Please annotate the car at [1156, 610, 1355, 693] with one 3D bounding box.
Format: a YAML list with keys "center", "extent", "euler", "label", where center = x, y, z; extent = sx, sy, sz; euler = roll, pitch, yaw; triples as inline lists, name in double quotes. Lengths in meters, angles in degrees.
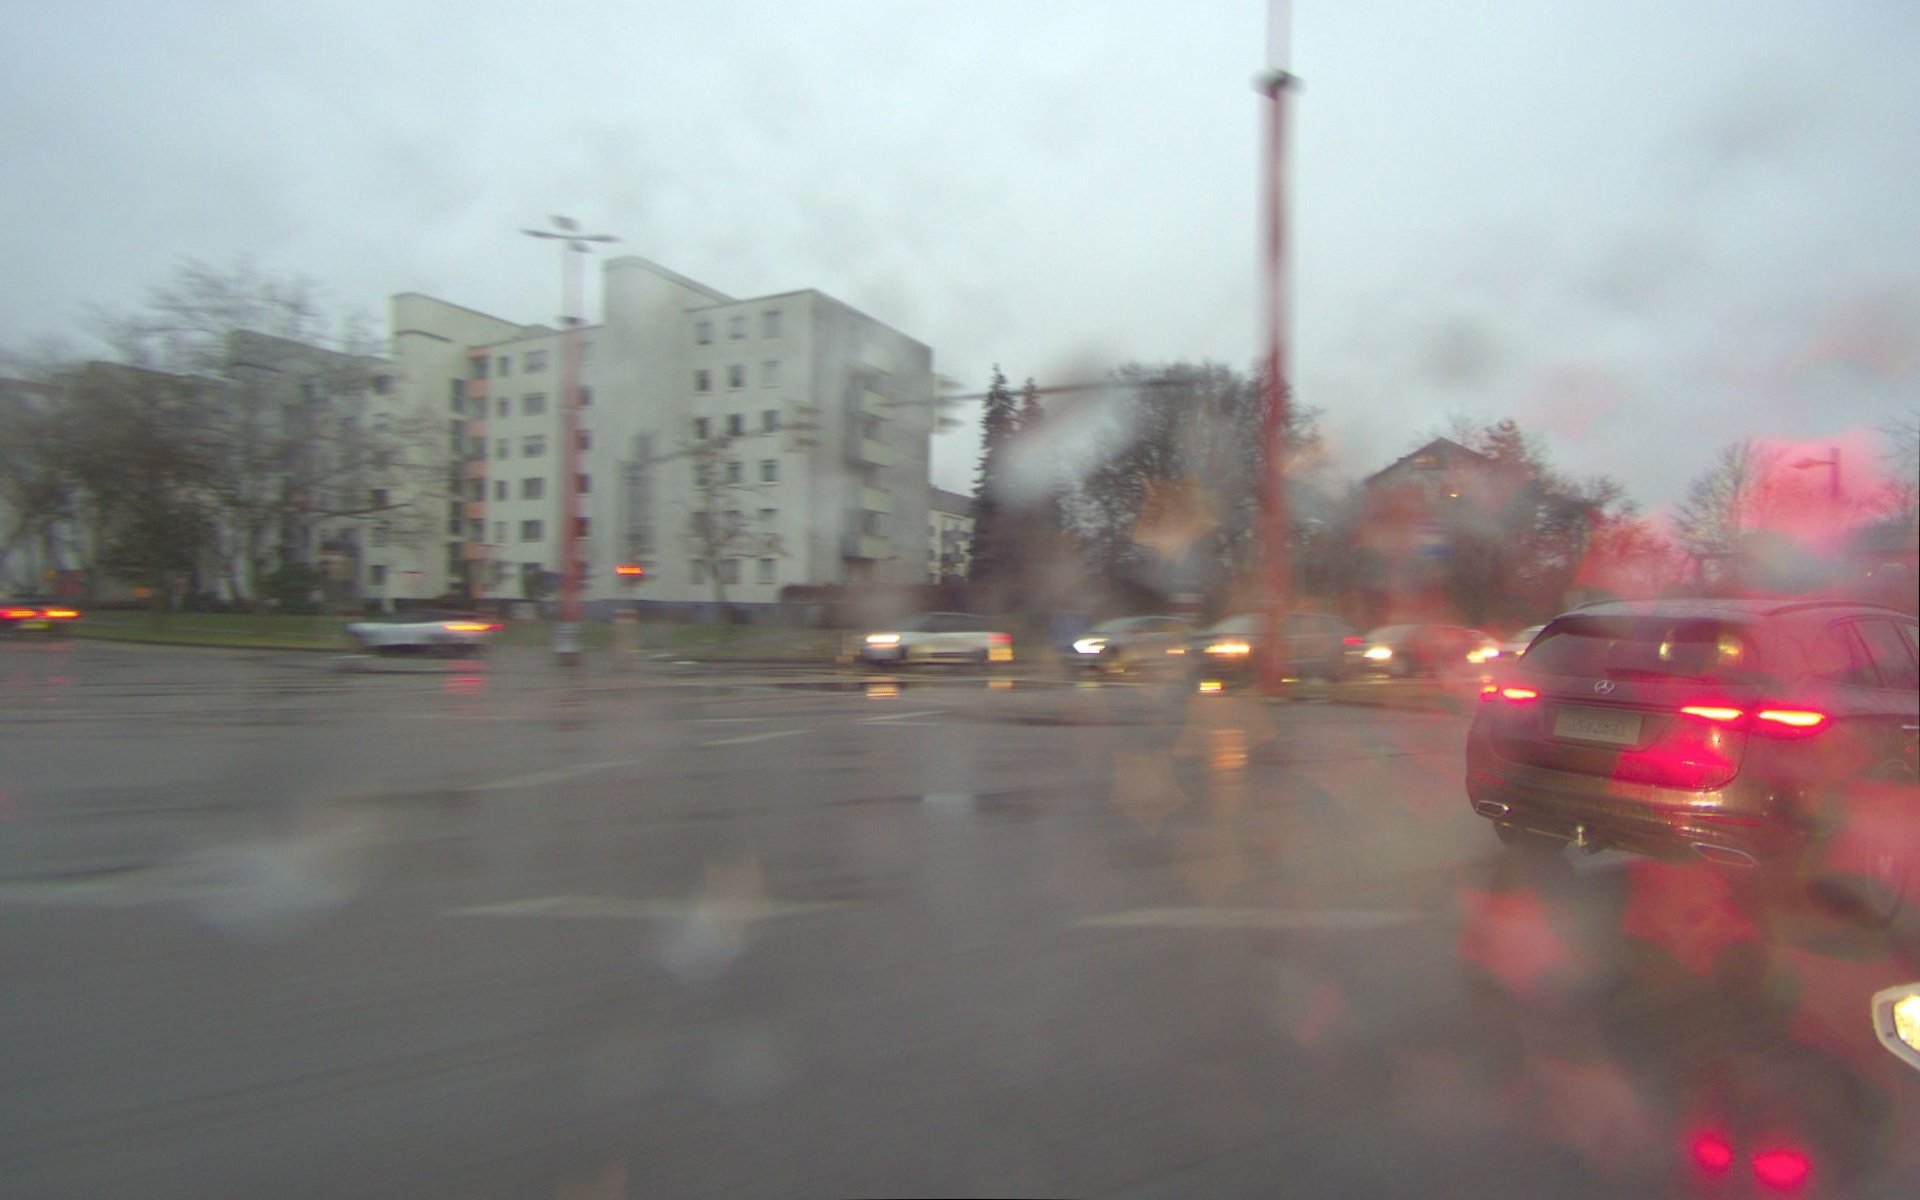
- center: [6.303, 1.052, 21.332]
  extent: [4.033, 1.603, 1.847]
  euler: [1, -1, -31]
  label: "car"

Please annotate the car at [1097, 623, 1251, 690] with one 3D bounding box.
- center: [5.000, 1.283, 23.462]
  extent: [3.287, 1.439, 1.644]
  euler: [1, -1, -30]
  label: "car"

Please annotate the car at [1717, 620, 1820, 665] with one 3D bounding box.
- center: [30.810, 1.611, 38.248]
  extent: [3.986, 1.607, 1.761]
  euler: [1, -1, -30]
  label: "car"

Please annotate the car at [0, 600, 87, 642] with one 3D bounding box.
- center: [-36.698, 0.791, 39.201]
  extent: [4.396, 1.550, 2.000]
  euler: [1, -1, 19]
  label: "car"

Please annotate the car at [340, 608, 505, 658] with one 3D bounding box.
- center: [-18.129, 1.114, 34.012]
  extent: [4.505, 1.550, 2.001]
  euler: [1, -1, 4]
  label: "car"

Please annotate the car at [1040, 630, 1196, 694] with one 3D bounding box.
- center: [4.236, 1.619, 26.837]
  extent: [3.901, 1.574, 1.761]
  euler: [1, -1, -31]
  label: "car"

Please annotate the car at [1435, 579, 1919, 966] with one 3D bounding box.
- center: [5.177, 0.815, 6.227]
  extent: [4.412, 1.670, 1.814]
  euler: [2, -1, -29]
  label: "car"

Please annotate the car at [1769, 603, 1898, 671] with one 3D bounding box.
- center: [42.750, 1.818, 49.105]
  extent: [7.256, 3.045, 2.282]
  euler: [3, 0, -29]
  label: "car"

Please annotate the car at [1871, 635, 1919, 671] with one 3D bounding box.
- center: [49.540, 2.740, 52.299]
  extent: [3.946, 1.682, 1.791]
  euler: [0, 1, -26]
  label: "car"

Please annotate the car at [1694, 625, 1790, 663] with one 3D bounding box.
- center: [34.656, 1.940, 44.498]
  extent: [4.391, 1.557, 1.762]
  euler: [1, -1, -29]
  label: "car"

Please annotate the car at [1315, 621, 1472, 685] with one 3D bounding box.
- center: [11.999, 1.431, 27.721]
  extent: [4.237, 1.620, 1.848]
  euler: [1, -1, -30]
  label: "car"

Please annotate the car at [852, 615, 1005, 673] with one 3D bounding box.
- center: [-0.854, 1.212, 27.959]
  extent: [3.966, 1.515, 1.612]
  euler: [1, -1, -28]
  label: "car"

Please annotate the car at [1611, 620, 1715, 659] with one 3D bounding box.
- center: [28.916, 1.604, 41.276]
  extent: [4.595, 1.509, 1.761]
  euler: [1, -1, -30]
  label: "car"
